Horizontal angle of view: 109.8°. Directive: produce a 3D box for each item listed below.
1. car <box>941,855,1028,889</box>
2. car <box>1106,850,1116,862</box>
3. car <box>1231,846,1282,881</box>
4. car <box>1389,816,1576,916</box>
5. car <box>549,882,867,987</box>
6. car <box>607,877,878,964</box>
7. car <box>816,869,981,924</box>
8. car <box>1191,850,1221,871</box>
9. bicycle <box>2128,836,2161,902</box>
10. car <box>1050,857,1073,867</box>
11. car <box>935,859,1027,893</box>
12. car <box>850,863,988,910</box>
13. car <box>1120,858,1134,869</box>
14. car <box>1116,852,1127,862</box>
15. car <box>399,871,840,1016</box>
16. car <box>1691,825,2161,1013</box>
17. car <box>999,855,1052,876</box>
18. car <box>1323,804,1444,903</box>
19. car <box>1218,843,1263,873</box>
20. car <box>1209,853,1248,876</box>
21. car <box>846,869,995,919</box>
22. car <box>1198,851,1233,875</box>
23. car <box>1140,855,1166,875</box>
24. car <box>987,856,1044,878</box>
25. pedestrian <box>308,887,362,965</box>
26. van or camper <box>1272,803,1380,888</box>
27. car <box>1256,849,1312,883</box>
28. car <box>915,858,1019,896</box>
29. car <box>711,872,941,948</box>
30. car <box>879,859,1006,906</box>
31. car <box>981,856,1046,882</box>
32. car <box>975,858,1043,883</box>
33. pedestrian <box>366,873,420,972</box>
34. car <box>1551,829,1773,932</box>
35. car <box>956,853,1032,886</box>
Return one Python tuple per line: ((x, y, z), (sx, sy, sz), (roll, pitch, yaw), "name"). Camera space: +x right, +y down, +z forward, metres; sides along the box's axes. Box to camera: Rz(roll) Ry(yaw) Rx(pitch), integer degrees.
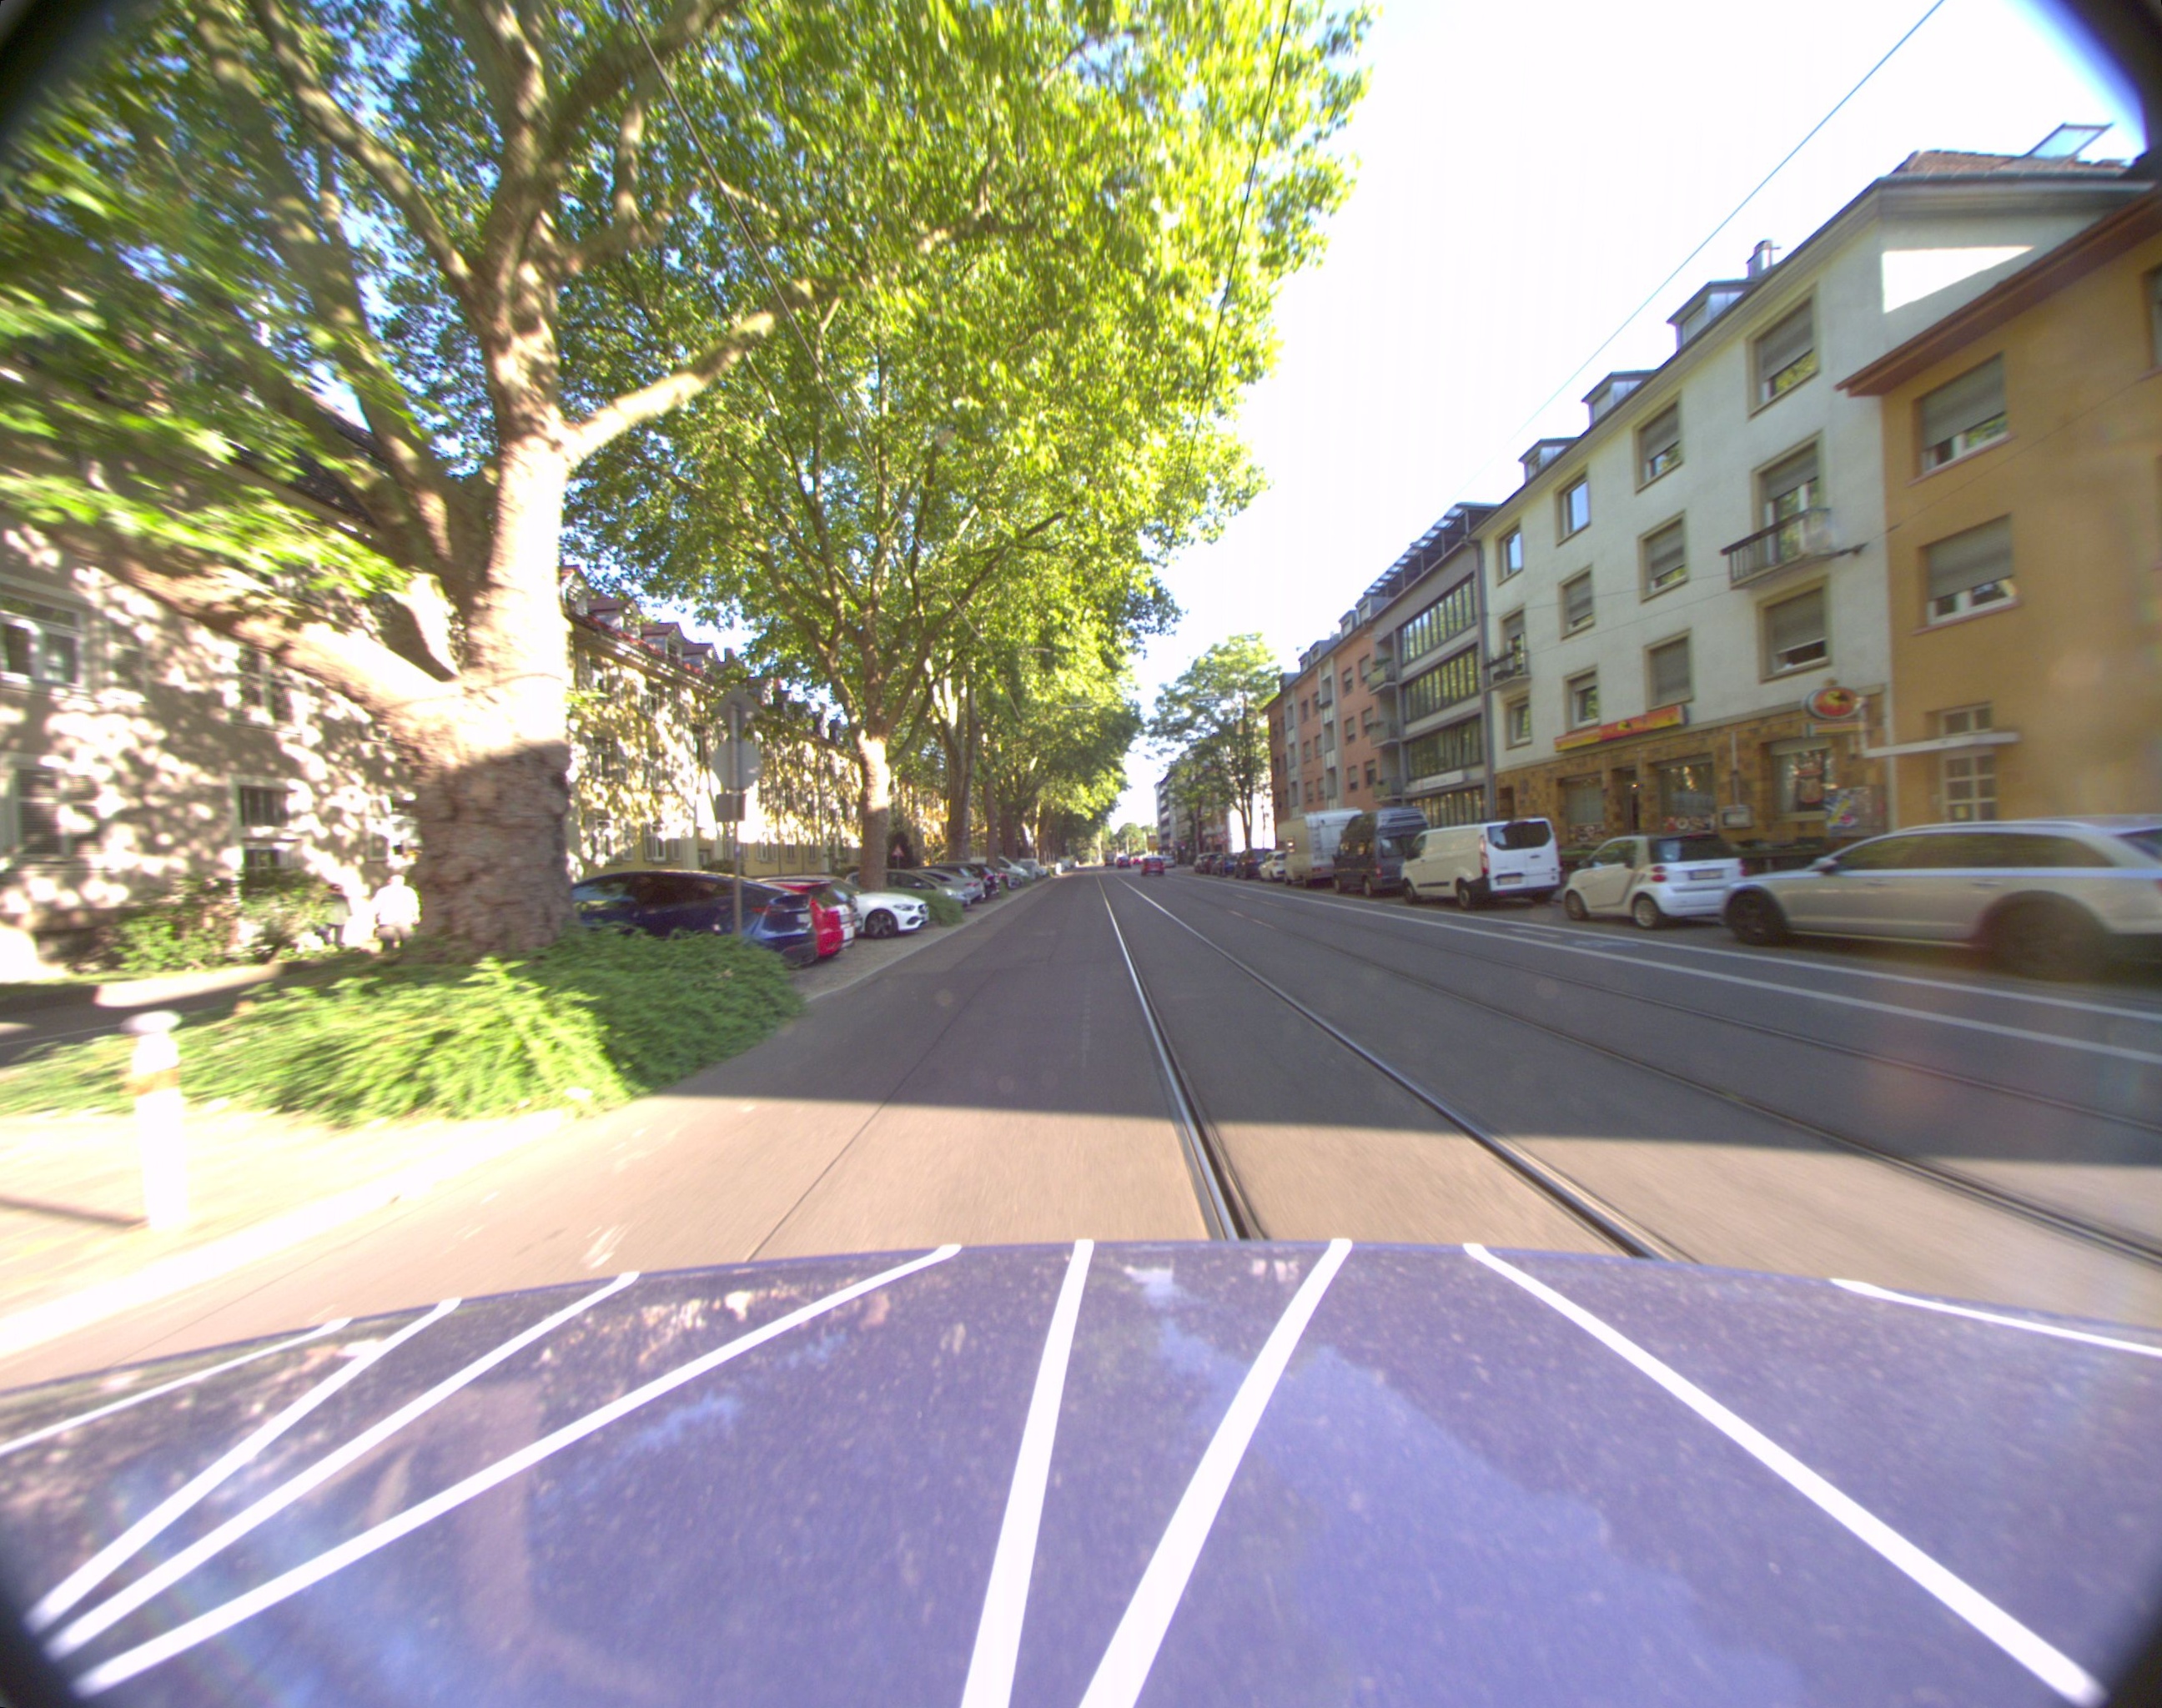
((-5.484, 1.029, 43.485), (4.611, 1.781, 1.893), (-2, -1, 4), "car")
((6.884, 0.428, 174.055), (1.998, 2.756, 4.742), (-3, 0, 1), "car")
((9.999, 0.516, 43.570), (1.791, 1.743, 4.435), (-4, 0, 0), "car")
((9.703, 0.264, 18.938), (1.928, 2.034, 4.941), (-4, 0, 0), "car")
((-6.063, 1.287, 12.775), (4.368, 1.436, 1.893), (-2, -1, -1), "car")
((-6.605, 1.280, 15.146), (4.508, 1.436, 1.893), (-2, -1, 4), "car")
((-5.598, 1.288, 23.673), (4.611, 1.485, 1.893), (-2, -1, 4), "car")
((10.529, 0.543, 64.151), (1.791, 1.585, 4.097), (-4, 0, 0), "car")
((15.500, 0.207, 10.296), (0.362, 0.923, 1.647), (-3, 0, 1), "bicycle")
((-3.095, 1.293, 122.097), (3.582, 1.448, 1.771), (-2, -1, 4), "car")
((-5.343, 1.167, 40.976), (4.611, 1.631, 1.893), (-2, -1, 4), "car")
((-5.962, 1.185, 28.325), (4.611, 1.556, 1.893), (-2, -1, 4), "car")
((6.642, 1.377, 110.143), (1.769, 1.448, 3.586), (-3, 0, 1), "car")
((6.683, 0.508, 125.517), (1.769, 1.448, 3.586), (-3, 0, 1), "car")
((-6.024, 1.129, 10.352), (4.810, 1.621, 1.893), (-2, -1, 1), "car")
((9.663, 0.513, 8.339), (1.776, 1.484, 4.940), (-4, 0, -2), "car")
((-5.044, 1.079, 69.856), (4.611, 1.705, 1.893), (-2, -1, 4), "car")
((9.743, -0.016, 24.941), (1.927, 2.730, 4.546), (-7, 0, 1), "car")
((10.197, 0.231, 48.849), (1.791, 1.743, 4.435), (-4, 0, 0), "car")
((10.340, 0.703, 53.616), (1.791, 1.462, 4.435), (-4, 0, 0), "car")
((-5.399, 1.326, 25.943), (4.611, 1.485, 1.893), (-2, -1, 4), "car")
((10.277, 0.647, 58.315), (1.791, 1.660, 4.435), (-4, 0, 0), "car")
((5.712, 0.823, 60.418), (1.769, 1.448, 3.586), (-3, 0, 1), "car")
((-5.596, 1.131, 65.227), (4.611, 1.705, 1.893), (-2, -1, 4), "car")
((-15.256, 1.457, 15.534), (0.619, 1.520, 0.642), (-2, 1, 38), "pedestrian")
((9.976, -0.333, 31.634), (2.423, 2.960, 5.991), (-7, 0, 2), "van or camper")
((10.097, 0.575, 38.009), (1.791, 1.506, 3.473), (-4, 0, 0), "car")
((-5.483, 1.104, 36.945), (4.611, 1.631, 1.893), (-2, -1, 4), "car")
((-5.776, 1.260, 17.550), (4.611, 1.485, 1.893), (-2, -1, 4), "car")
((-5.457, 1.111, 30.287), (4.611, 1.631, 1.893), (-2, -1, 4), "car")
((-5.061, 1.099, 57.564), (4.611, 1.781, 1.893), (-2, -1, 4), "car")
((-5.175, 1.191, 55.225), (4.611, 1.631, 1.893), (-2, -1, 4), "car")
((-12.841, 1.259, 14.172), (0.642, 1.757, 0.619), (-3, 1, -45), "pedestrian")
((9.801, 0.406, 13.087), (1.575, 1.484, 2.883), (-4, 0, 1), "car")
((-5.643, 1.010, 49.710), (4.636, 2.001, 1.893), (-2, 0, 4), "car")
